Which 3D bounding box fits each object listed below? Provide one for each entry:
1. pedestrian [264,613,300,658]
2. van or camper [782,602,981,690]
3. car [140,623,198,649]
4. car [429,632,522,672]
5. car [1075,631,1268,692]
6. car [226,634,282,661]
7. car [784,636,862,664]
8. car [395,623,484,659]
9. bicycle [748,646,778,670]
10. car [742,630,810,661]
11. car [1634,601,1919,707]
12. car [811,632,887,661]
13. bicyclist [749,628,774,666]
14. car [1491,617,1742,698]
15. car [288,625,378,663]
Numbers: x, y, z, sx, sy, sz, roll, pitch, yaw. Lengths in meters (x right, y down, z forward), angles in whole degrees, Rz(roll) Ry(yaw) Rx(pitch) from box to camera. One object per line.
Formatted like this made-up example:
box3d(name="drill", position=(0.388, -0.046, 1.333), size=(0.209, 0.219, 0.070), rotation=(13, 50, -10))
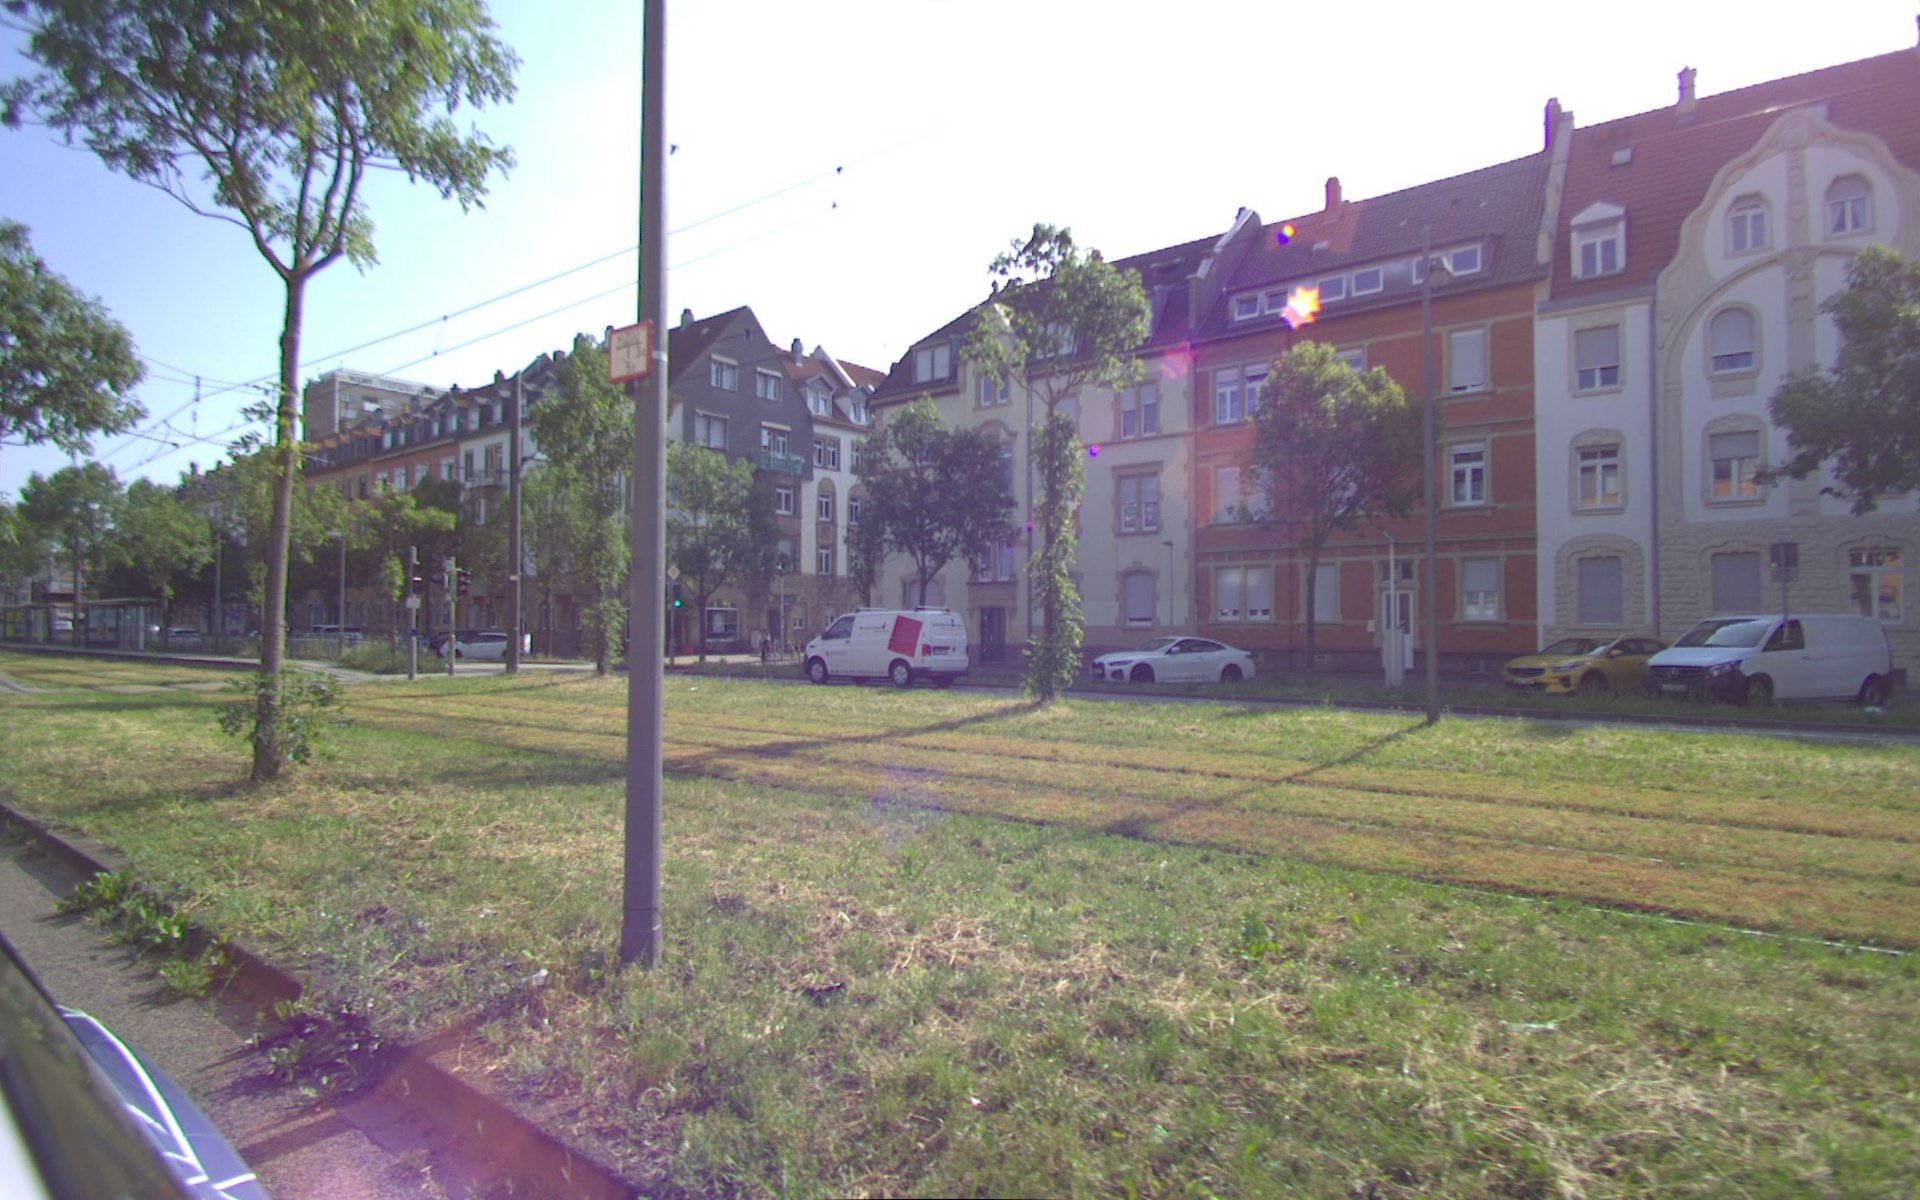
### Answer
box3d(name="pedestrian", position=(-25.229, 1.309, 37.638), size=(0.851, 1.667, 0.875), rotation=(-1, -2, 38))
box3d(name="van or camper", position=(-2.157, 1.161, 26.694), size=(5.345, 2.113, 1.933), rotation=(-1, -3, 38))
box3d(name="car", position=(-47.751, 2.169, 61.095), size=(4.419, 1.451, 1.754), rotation=(-1, -3, 39))
box3d(name="car", position=(-24.315, 2.578, 50.944), size=(3.932, 1.739, 2.006), rotation=(-1, 1, -17))
box3d(name="car", position=(5.711, 1.635, 27.409), size=(4.695, 1.496, 2.029), rotation=(1, 0, -19))
box3d(name="car", position=(-41.830, 2.783, 59.919), size=(3.995, 1.526, 1.651), rotation=(-1, -2, 39))
box3d(name="car", position=(-7.013, 2.517, 51.659), size=(3.995, 1.309, 1.651), rotation=(-1, -2, 39))
box3d(name="car", position=(-28.196, 2.183, 54.953), size=(3.932, 1.739, 2.006), rotation=(-1, 1, -17))
box3d(name="bicycle", position=(-8.610, 2.519, 44.187), size=(0.843, 0.872, 2.026), rotation=(-1, 1, -24))
box3d(name="car", position=(-10.775, 2.628, 59.509), size=(1.603, 1.595, 3.777), rotation=(-1, 1, 39))
box3d(name="car", position=(15.654, 0.951, 19.397), size=(4.868, 1.739, 1.863), rotation=(-1, 1, -17))
box3d(name="car", position=(-5.835, 2.437, 53.067), size=(3.995, 1.423, 1.651), rotation=(-1, -2, 39))
box3d(name="bicyclist", position=(-8.663, 2.032, 44.159), size=(0.834, 1.570, 0.905), rotation=(-1, 1, -27))
box3d(name="car", position=(13.810, 1.143, 21.323), size=(4.620, 1.358, 1.863), rotation=(-2, 1, -17))
box3d(name="car", position=(-27.017, 1.886, 43.551), size=(4.571, 1.544, 1.816), rotation=(-1, -3, 39))
